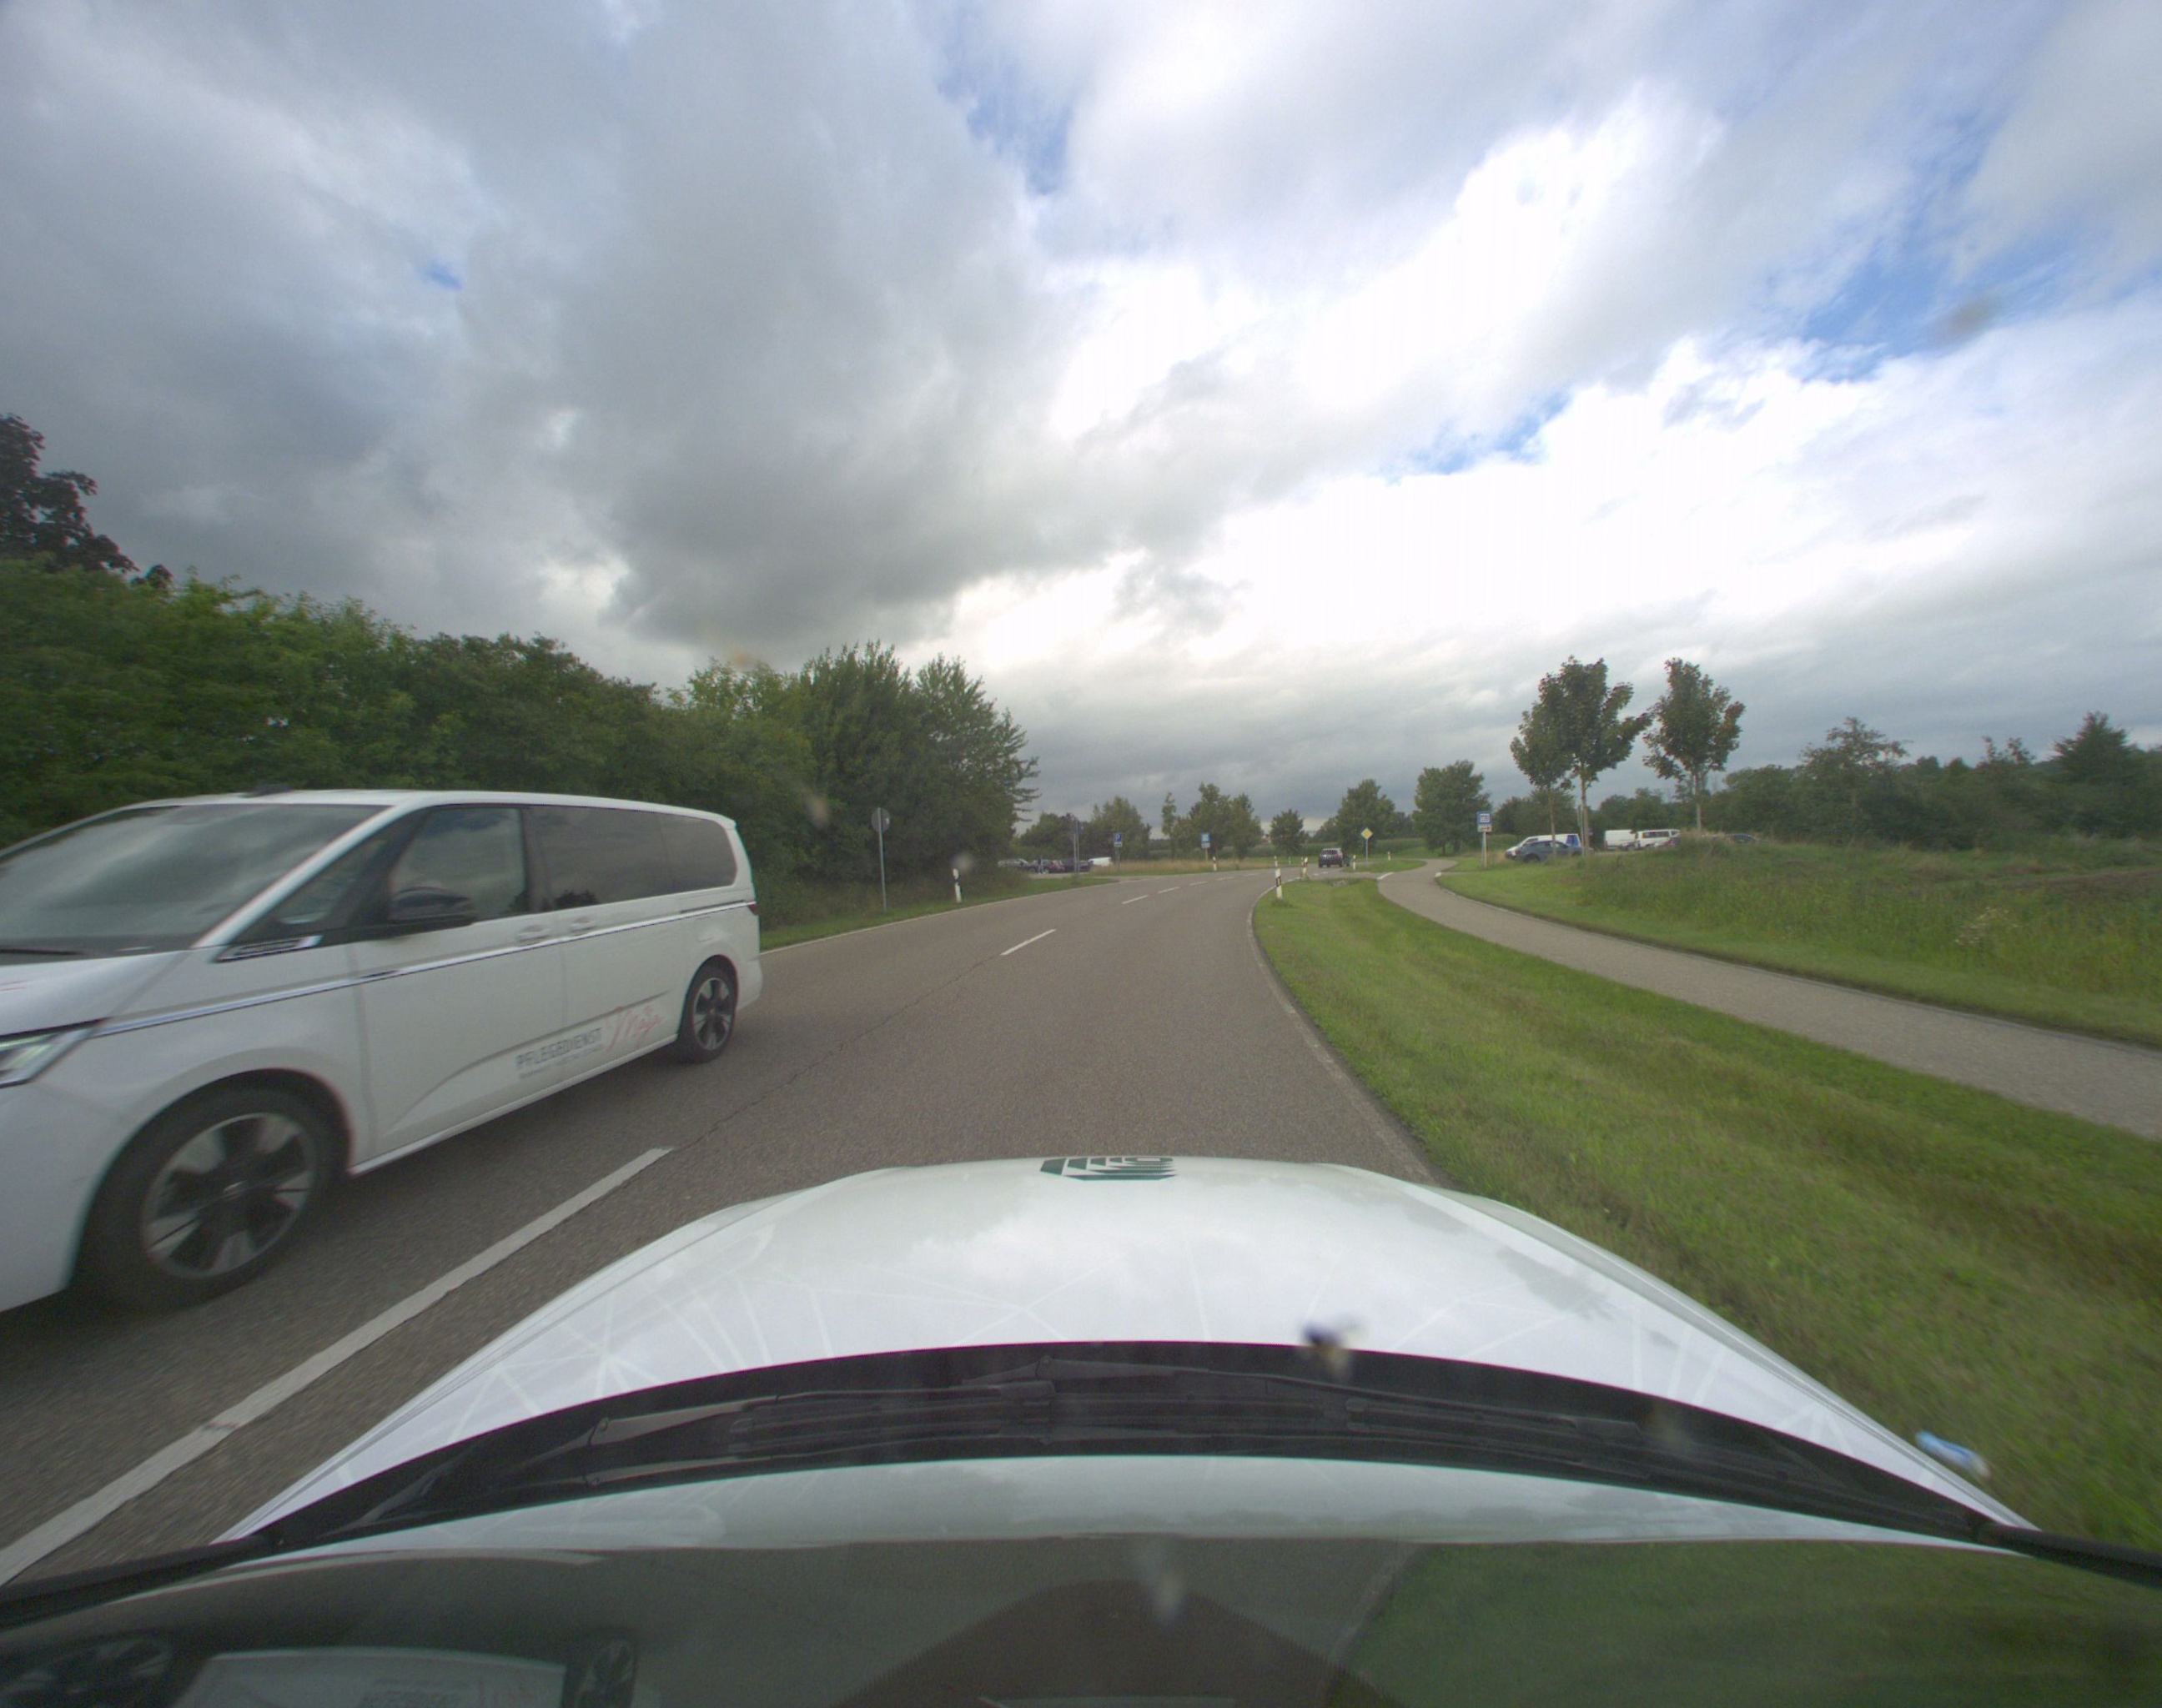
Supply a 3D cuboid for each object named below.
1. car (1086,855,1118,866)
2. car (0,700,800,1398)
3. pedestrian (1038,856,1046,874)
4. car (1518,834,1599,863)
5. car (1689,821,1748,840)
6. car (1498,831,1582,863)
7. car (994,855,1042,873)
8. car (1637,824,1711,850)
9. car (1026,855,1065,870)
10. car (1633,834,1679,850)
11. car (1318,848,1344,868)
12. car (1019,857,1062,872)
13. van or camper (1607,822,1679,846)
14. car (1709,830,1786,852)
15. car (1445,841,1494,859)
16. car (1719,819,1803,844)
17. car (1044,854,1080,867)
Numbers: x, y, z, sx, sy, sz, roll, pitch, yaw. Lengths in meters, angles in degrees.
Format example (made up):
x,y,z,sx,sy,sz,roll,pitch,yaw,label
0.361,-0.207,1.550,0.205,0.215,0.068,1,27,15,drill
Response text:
x,y,z,sx,sy,sz,roll,pitch,yaw,label
2.720,0.828,106.919,3.964,1.380,1.479,-2,0,8,car
-3.767,0.552,4.686,2.103,1.869,5.193,-2,0,4,car
-3.528,0.999,73.438,0.511,1.667,0.664,-2,-1,17,pedestrian
30.235,-0.344,51.721,4.232,1.566,1.848,-4,-1,25,car
60.107,-2.170,76.859,3.955,1.596,2.009,-2,0,18,car
31.785,-0.474,56.529,4.901,1.974,1.966,-2,0,25,car
-6.028,0.997,78.193,4.213,1.566,1.763,-2,0,11,car
53.564,-1.475,73.673,4.980,2.000,2.244,-4,-1,24,car
-3.781,0.901,86.867,3.972,1.380,1.477,-2,0,2,car
58.361,-1.216,82.732,3.591,1.440,1.717,-2,0,27,car
19.475,0.305,63.352,1.826,1.417,4.019,-2,0,18,car
-4.174,1.067,84.019,3.958,1.380,1.831,-2,0,14,car
66.109,-2.337,95.922,6.678,2.562,2.061,-2,0,29,van or camper
45.466,-0.882,55.635,3.656,1.391,1.768,-2,0,20,car
38.899,-0.394,81.610,4.290,1.575,1.982,-4,-1,24,car
42.258,-1.396,50.732,3.653,1.391,1.740,-2,0,25,car
-2.159,0.706,93.101,3.971,1.380,1.477,-2,0,2,car
